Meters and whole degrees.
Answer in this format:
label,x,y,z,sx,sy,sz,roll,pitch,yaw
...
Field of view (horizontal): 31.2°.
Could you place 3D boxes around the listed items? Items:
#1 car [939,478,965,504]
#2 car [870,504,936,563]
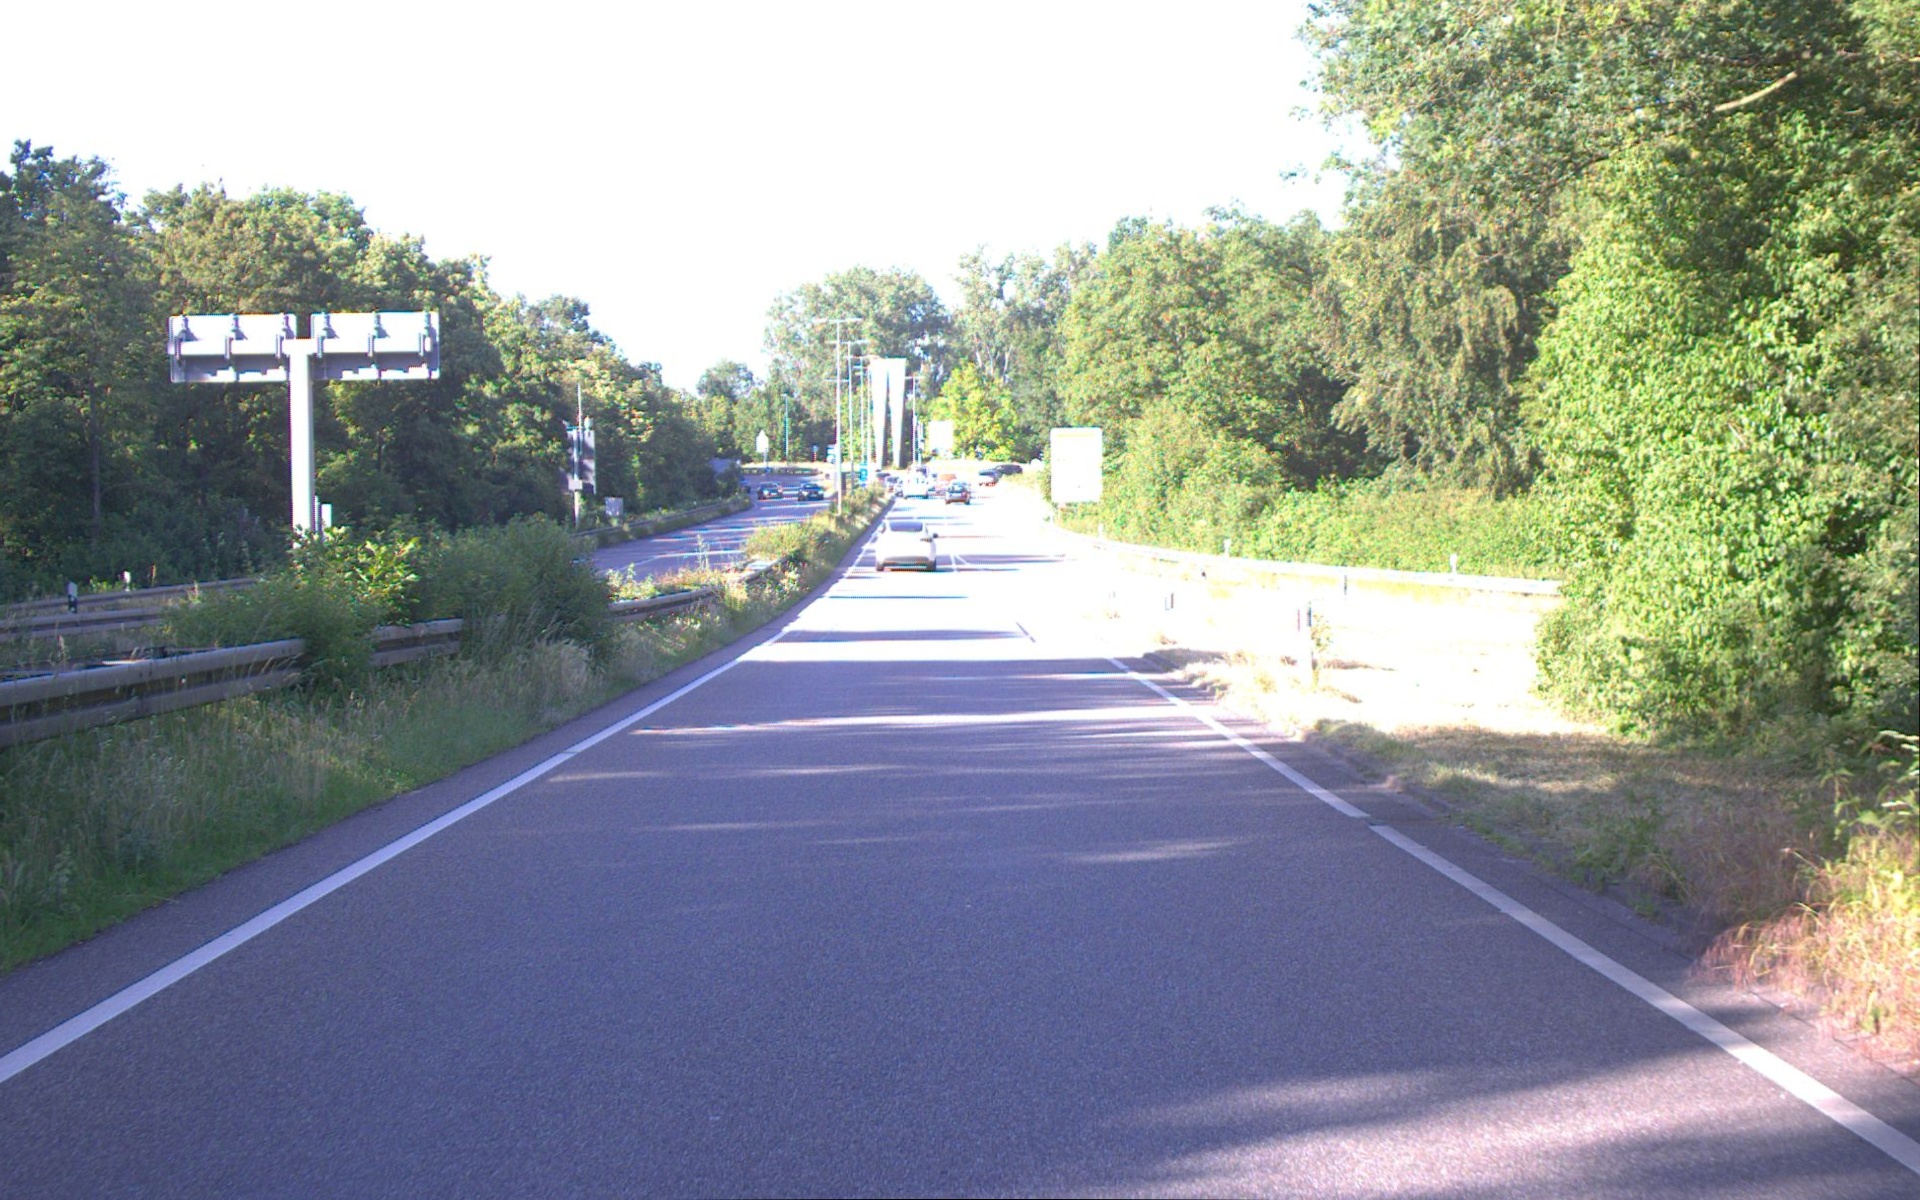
label,x,y,z,sx,sy,sz,roll,pitch,yaw
car,-0.596,-8.063,254.984,1.798,1.823,3.417,2,1,1
car,-1.843,-2.135,109.972,1.884,1.809,4.001,1,1,-4
